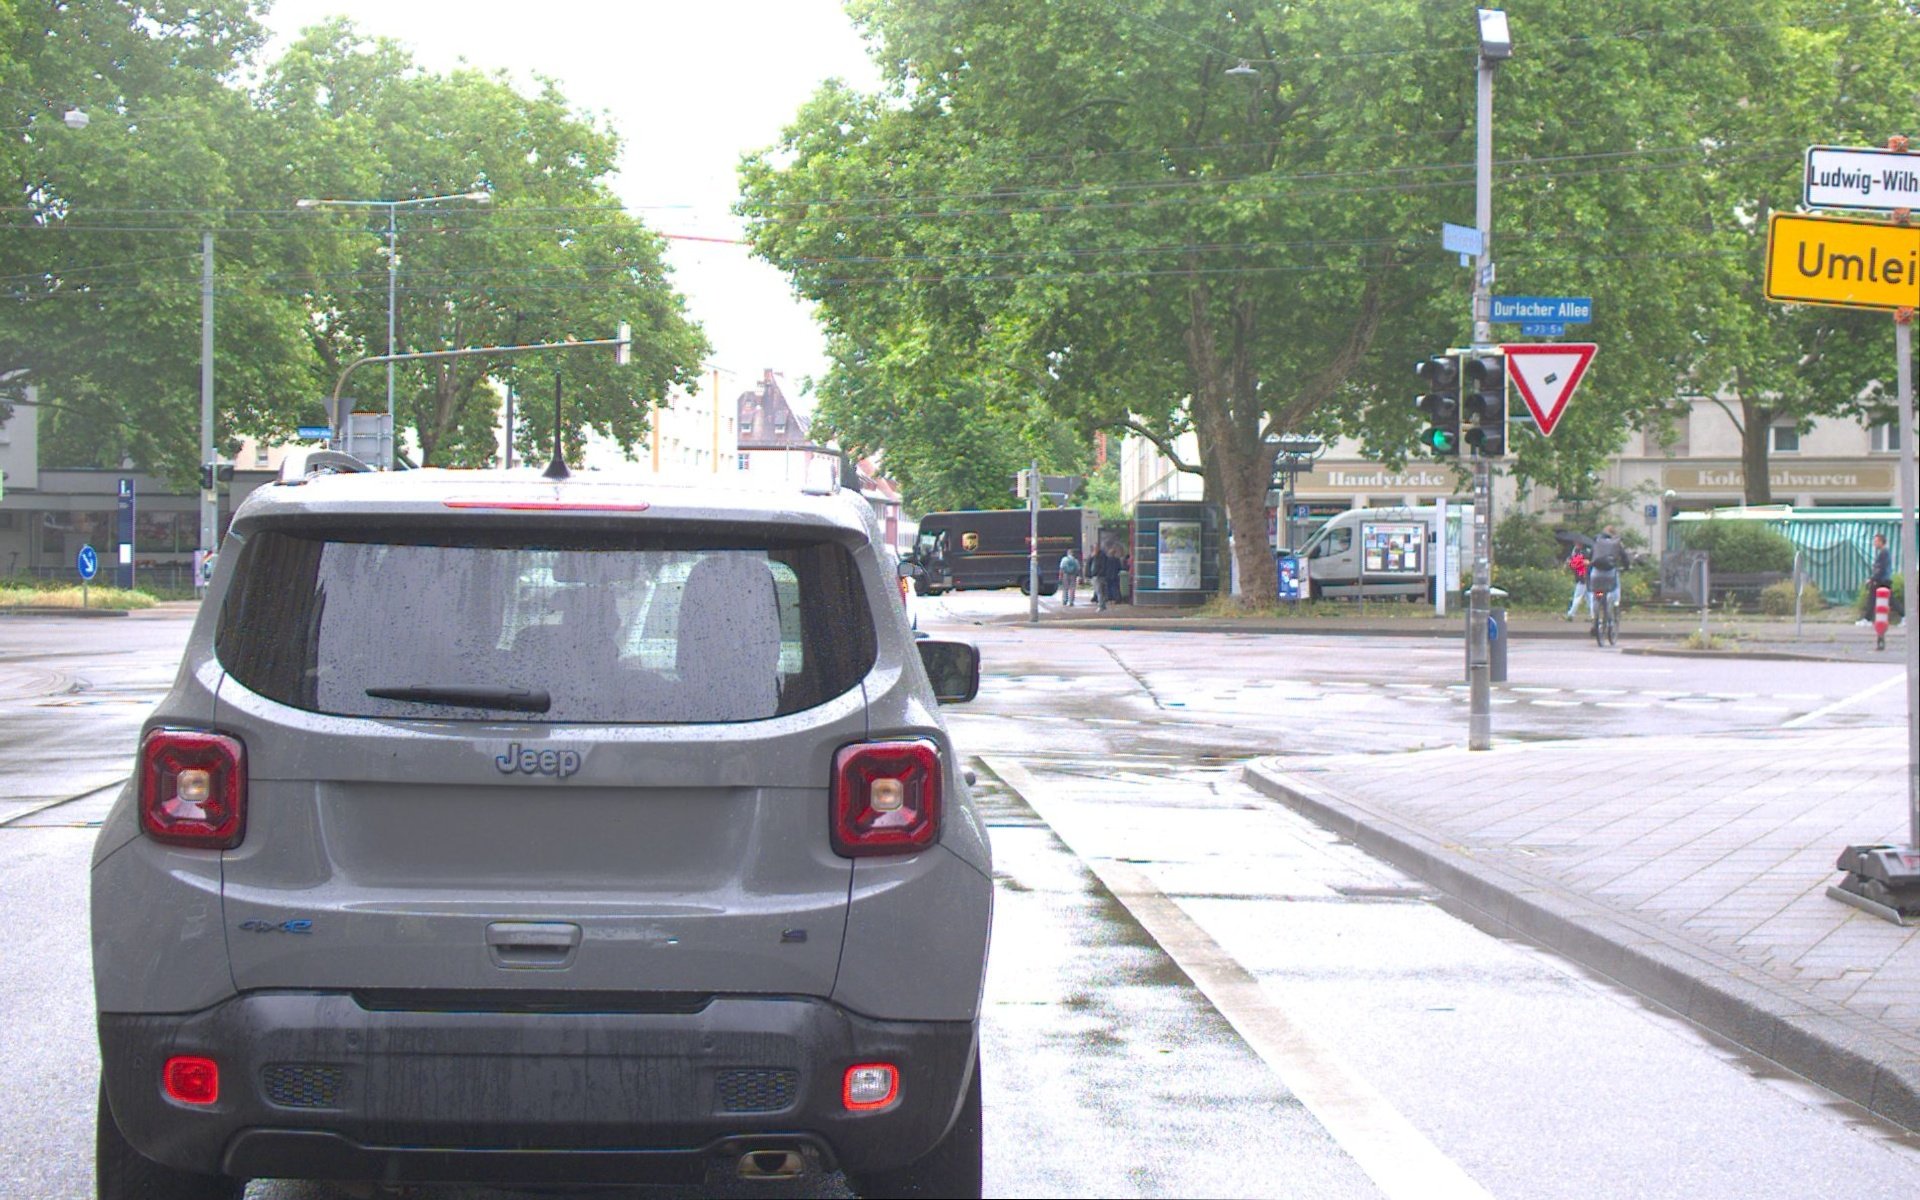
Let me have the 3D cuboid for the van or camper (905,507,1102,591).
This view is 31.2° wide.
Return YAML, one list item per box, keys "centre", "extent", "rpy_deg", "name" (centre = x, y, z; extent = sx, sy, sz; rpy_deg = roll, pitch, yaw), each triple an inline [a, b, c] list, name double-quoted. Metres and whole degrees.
- centre: [1.533, -1.804, 121.439]
  extent: [6.535, 2.902, 2.491]
  rpy_deg: [0, 1, 26]
  name: "van or camper"

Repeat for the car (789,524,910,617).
- centre: [-1.567, -0.426, 47.739]
  extent: [1.592, 1.247, 3.575]
  rpy_deg: [0, 1, -3]
  name: "car"

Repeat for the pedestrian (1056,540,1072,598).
- centre: [3.049, -0.900, 101.046]
  extent: [0.458, 1.698, 0.424]
  rpy_deg: [0, 1, 0]
  name: "pedestrian"

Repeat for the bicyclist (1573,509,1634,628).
- centre: [8.853, -0.438, 47.269]
  extent: [0.687, 1.612, 0.883]
  rpy_deg: [0, 1, 19]
  name: "bicyclist"

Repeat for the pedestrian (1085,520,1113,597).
- centre: [3.612, -1.085, 89.317]
  extent: [0.651, 2.007, 0.482]
  rpy_deg: [0, 1, 11]
  name: "pedestrian"

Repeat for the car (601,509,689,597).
- centre: [-6.374, -0.964, 69.658]
  extent: [1.721, 1.733, 3.730]
  rpy_deg: [0, 1, -5]
  name: "car"

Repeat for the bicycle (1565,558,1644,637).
- centre: [8.887, -0.048, 47.346]
  extent: [0.692, 1.018, 2.655]
  rpy_deg: [0, 1, 19]
  name: "bicycle"

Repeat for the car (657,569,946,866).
- centre: [-0.787, 0.540, 17.886]
  extent: [1.363, 1.371, 3.312]
  rpy_deg: [0, 1, -1]
  name: "car"

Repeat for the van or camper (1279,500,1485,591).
- centre: [11.193, -1.461, 91.551]
  extent: [5.259, 2.307, 2.090]
  rpy_deg: [1, 1, 3]
  name: "van or camper"

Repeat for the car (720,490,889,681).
- centre: [-1.688, -0.195, 38.206]
  extent: [1.770, 2.007, 4.000]
  rpy_deg: [0, 1, -1]
  name: "car"

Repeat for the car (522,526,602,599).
- centre: [-9.398, -0.905, 81.396]
  extent: [1.813, 1.665, 3.921]
  rpy_deg: [0, 1, -6]
  name: "car"

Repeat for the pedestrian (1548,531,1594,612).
- centre: [11.873, -0.558, 66.786]
  extent: [0.674, 1.548, 0.760]
  rpy_deg: [1, 0, 27]
  name: "pedestrian"

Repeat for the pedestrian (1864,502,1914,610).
- centre: [17.383, -0.818, 64.336]
  extent: [0.806, 2.007, 0.589]
  rpy_deg: [0, 1, 26]
  name: "pedestrian"

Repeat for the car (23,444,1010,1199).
- centre: [-0.873, 0.527, 8.202]
  extent: [1.775, 1.681, 3.848]
  rpy_deg: [-1, 1, -2]
  name: "car"
